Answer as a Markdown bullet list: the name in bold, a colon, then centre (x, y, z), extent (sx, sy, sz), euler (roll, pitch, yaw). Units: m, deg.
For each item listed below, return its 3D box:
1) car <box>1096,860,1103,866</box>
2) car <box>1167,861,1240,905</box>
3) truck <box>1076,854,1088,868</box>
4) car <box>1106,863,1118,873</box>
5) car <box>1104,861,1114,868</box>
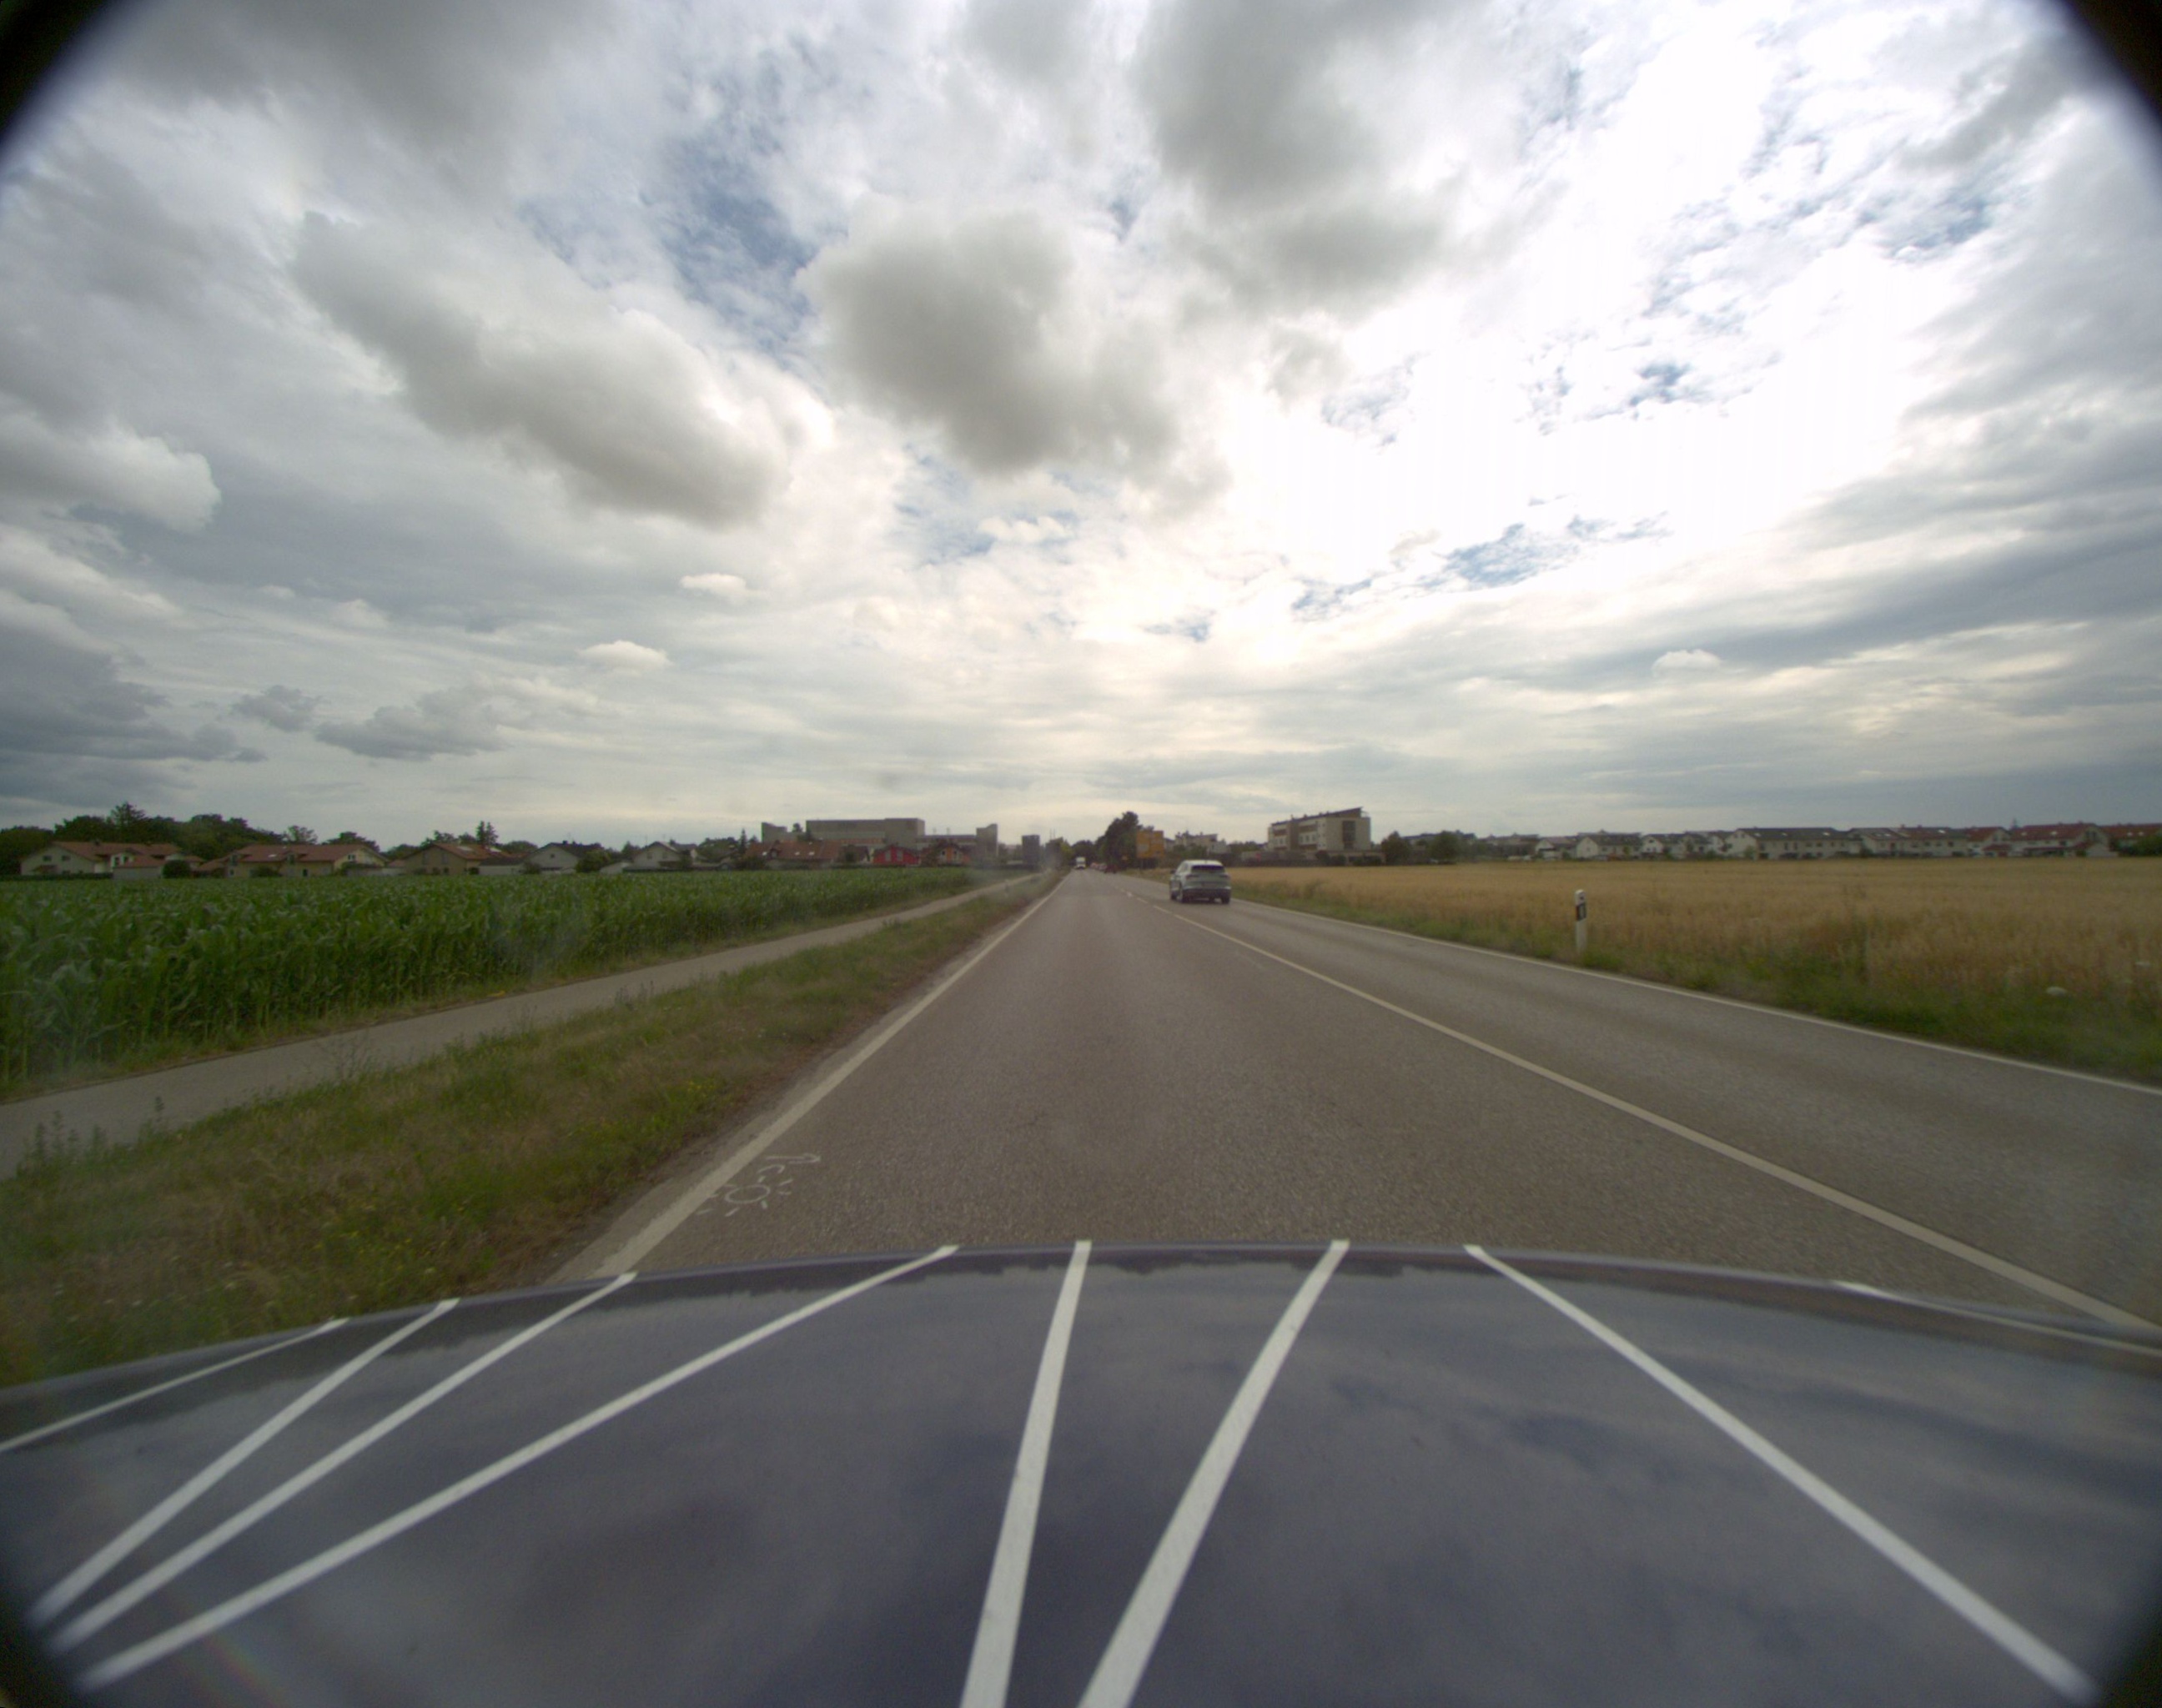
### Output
- **car**: centre (5.445, 2.769, 225.302), extent (1.998, 1.674, 4.810), euler (1, -1, 0)
- **car**: centre (4.692, 1.061, 29.818), extent (2.070, 1.571, 4.765), euler (1, 0, 0)
- **truck**: centre (0.360, 1.854, 203.890), extent (2.613, 3.427, 7.509), euler (-2, 0, 3)
- **car**: centre (4.768, 2.189, 117.515), extent (1.716, 1.479, 4.608), euler (0, 0, 0)
- **car**: centre (5.638, 2.139, 153.447), extent (1.811, 1.448, 4.113), euler (0, 0, 0)
